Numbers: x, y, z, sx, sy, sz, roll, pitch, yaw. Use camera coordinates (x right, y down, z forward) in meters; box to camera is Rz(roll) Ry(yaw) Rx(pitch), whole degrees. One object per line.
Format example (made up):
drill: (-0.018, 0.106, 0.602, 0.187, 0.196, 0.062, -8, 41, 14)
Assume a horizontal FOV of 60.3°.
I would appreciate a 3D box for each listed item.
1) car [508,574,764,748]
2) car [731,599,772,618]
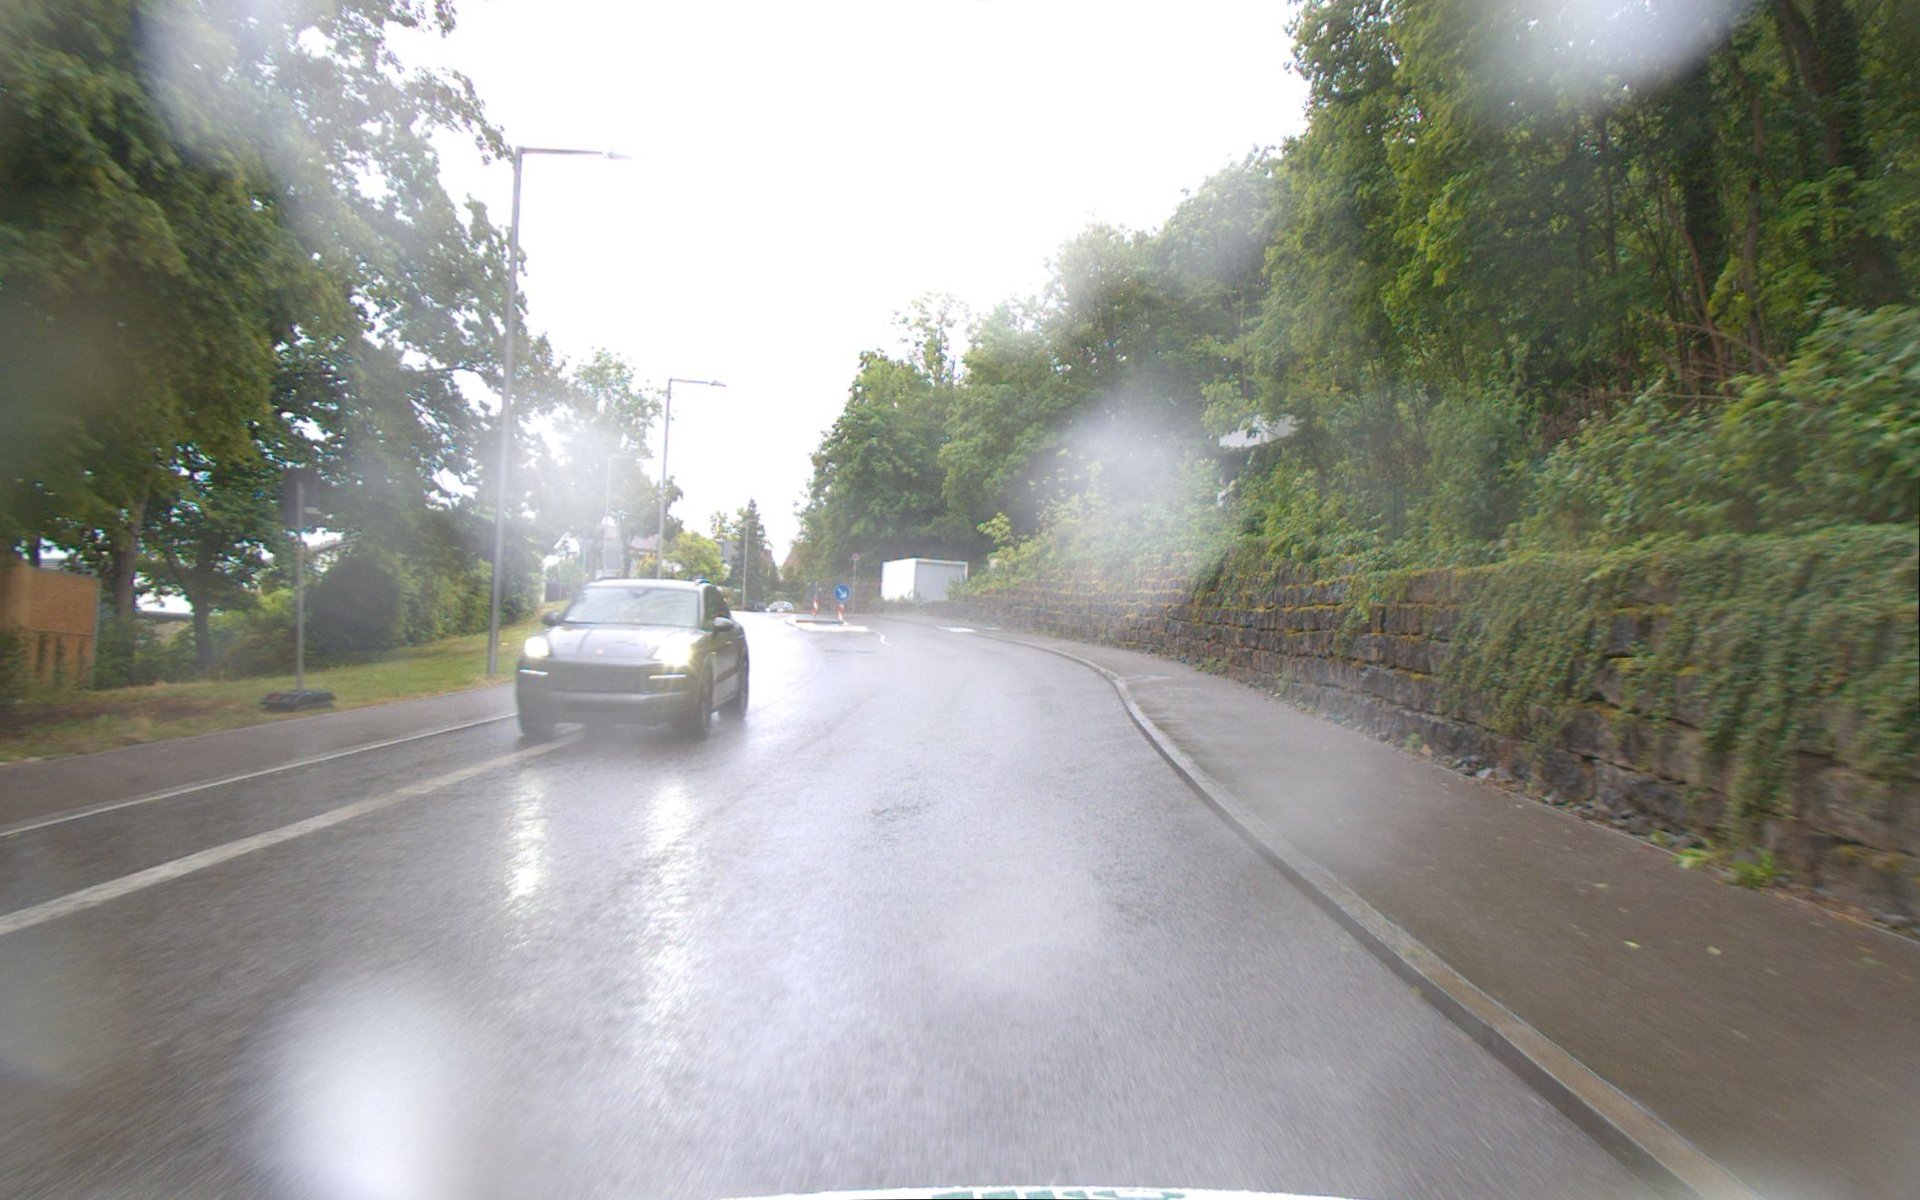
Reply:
car: (-3.469, 0.619, 18.610, 1.879, 1.676, 4.547, 1, -1, 1)
car: (-18.974, 0.761, 150.441, 1.920, 1.413, 3.949, 7, -3, -36)
